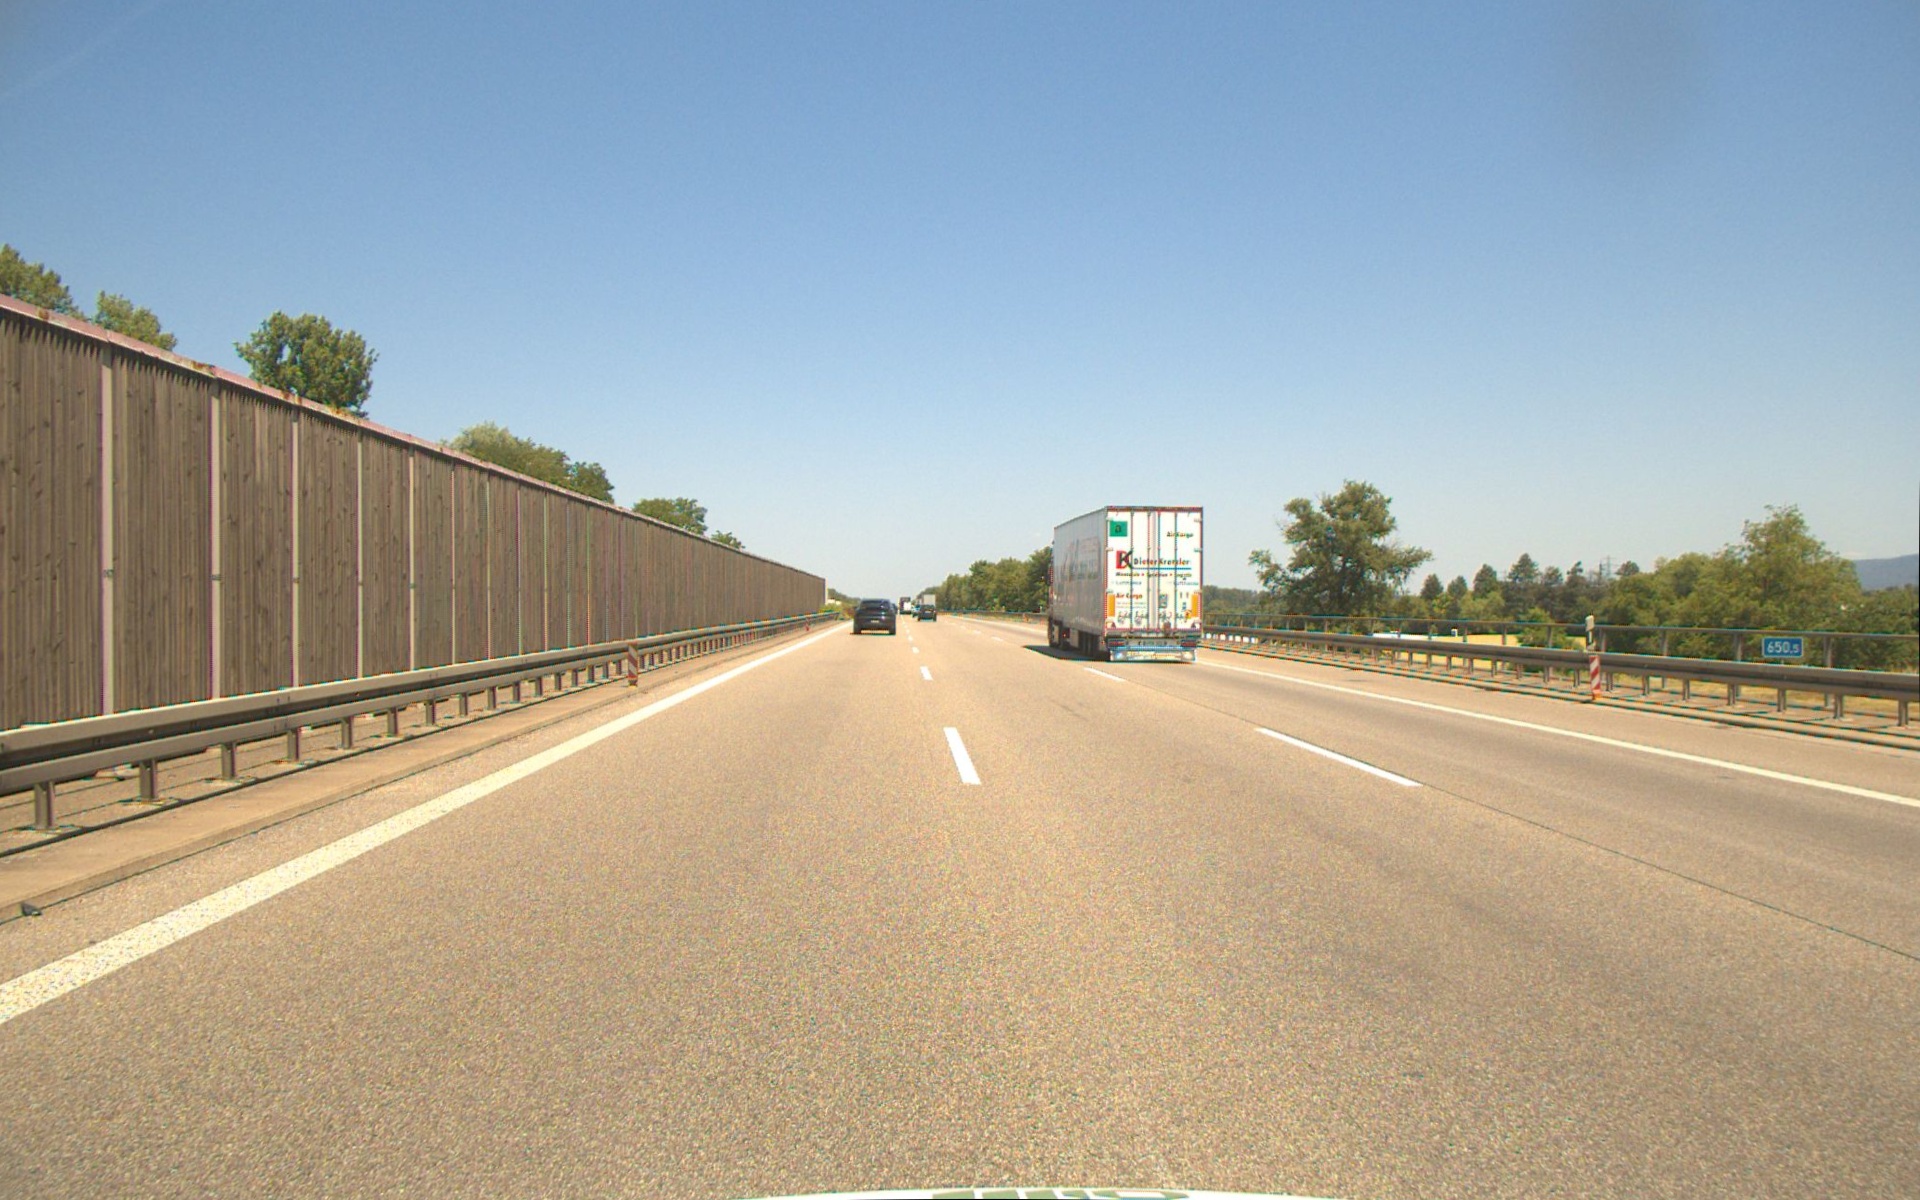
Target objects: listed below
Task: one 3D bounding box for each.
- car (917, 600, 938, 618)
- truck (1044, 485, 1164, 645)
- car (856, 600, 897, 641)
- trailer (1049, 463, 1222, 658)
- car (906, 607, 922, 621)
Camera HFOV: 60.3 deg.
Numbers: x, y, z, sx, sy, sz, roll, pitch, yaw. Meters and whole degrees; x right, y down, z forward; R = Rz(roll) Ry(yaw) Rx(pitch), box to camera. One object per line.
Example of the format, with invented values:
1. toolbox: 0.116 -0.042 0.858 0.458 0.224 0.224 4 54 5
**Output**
1. car: -2.889 0.806 146.175 1.865 1.612 4.302 -1 -1 -2
2. truck: 4.678 -1.115 55.242 3.169 4.974 6.969 0 0 -2
3. car: -3.918 0.935 77.398 1.843 1.823 3.997 0 0 -4
4. trailer: 4.852 -1.035 49.132 3.203 4.922 14.024 0 0 -2
5. car: -5.452 1.614 195.574 1.865 1.612 4.302 -1 -1 -2
